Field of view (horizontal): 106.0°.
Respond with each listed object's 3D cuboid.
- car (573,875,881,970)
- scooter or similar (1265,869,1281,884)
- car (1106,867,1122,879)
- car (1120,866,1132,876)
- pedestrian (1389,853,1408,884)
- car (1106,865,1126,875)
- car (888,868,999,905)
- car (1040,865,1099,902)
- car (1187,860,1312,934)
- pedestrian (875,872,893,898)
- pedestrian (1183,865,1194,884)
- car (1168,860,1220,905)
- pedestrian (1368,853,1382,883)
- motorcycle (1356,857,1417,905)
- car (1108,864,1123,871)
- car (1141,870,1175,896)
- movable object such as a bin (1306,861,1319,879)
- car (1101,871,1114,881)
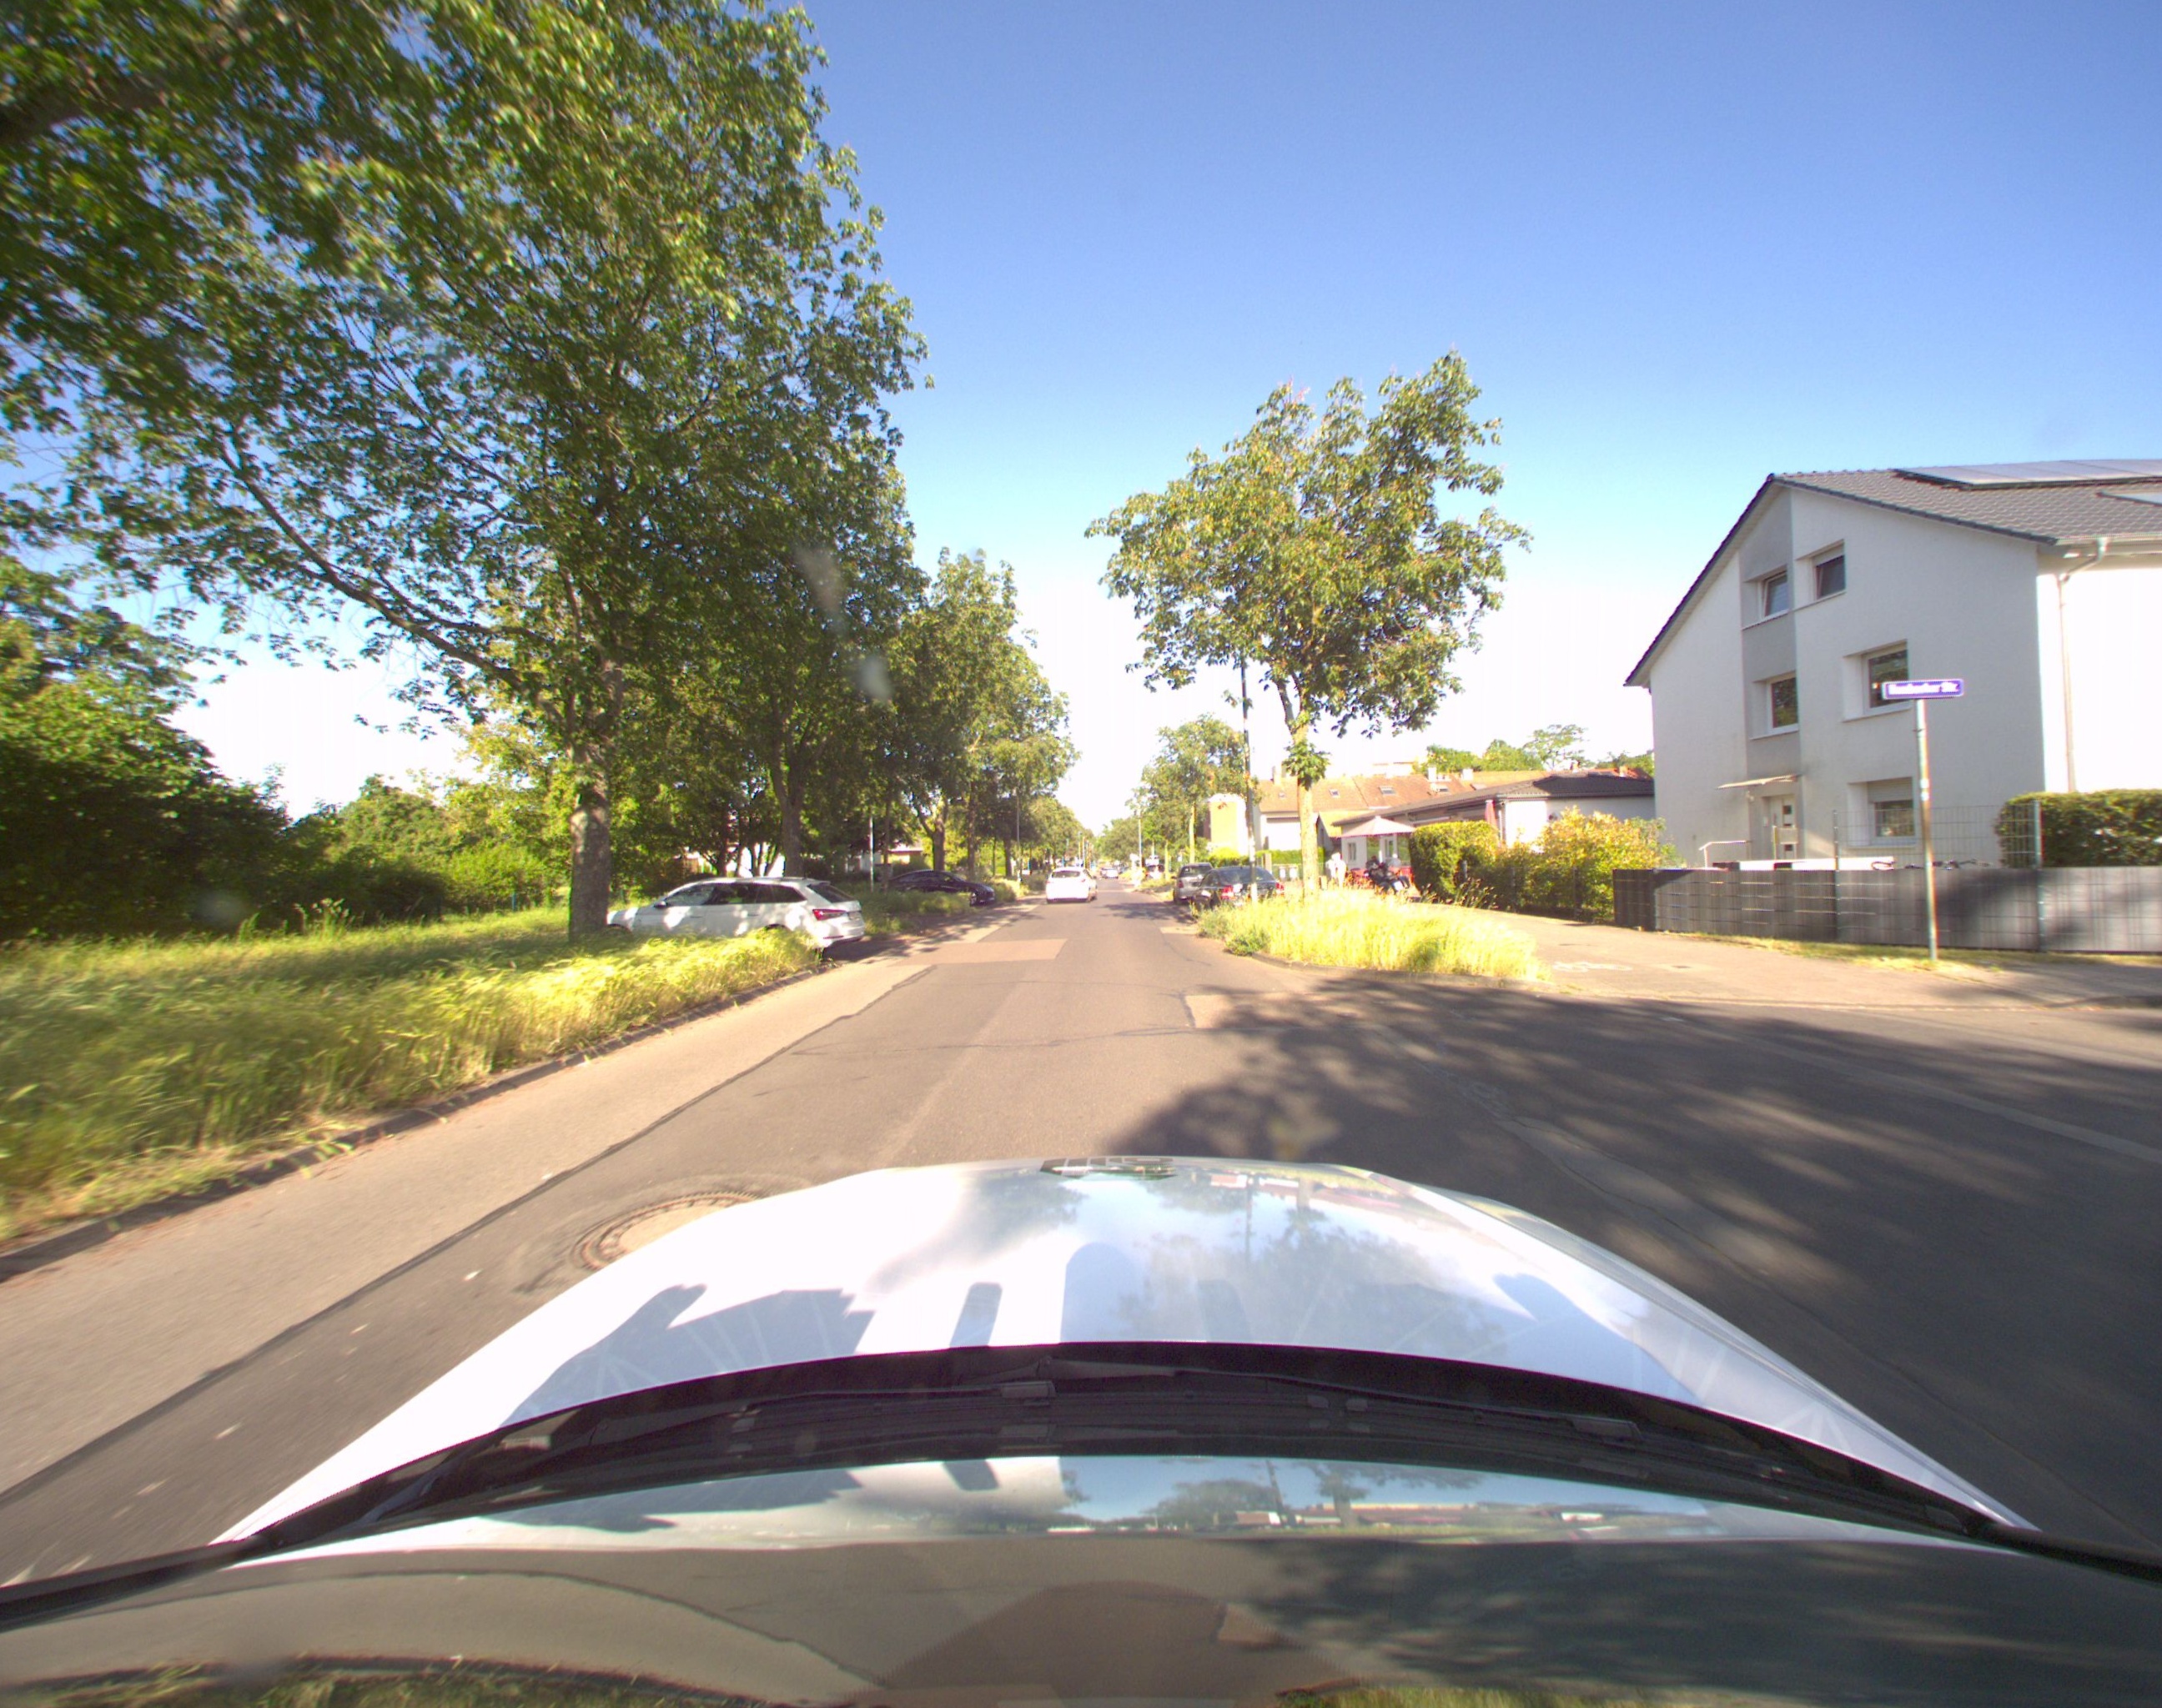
[{"bbox_3d":[-6.231,1.184,14.713,4.652,1.503,2.001,-1,-1,3],"label":"car"},{"bbox_3d":[11.220,1.313,47.577,0.368,0.858,1.406,-1,-1,-11],"label":"scooter or similar"},{"bbox_3d":[4.207,2.452,105.561,1.986,1.508,3.659,2,-1,2],"label":"car"},{"bbox_3d":[7.068,2.716,127.392,1.726,1.508,3.659,2,-1,2],"label":"car"},{"bbox_3d":[14.655,0.657,37.559,0.655,1.409,0.496,-4,-2,30],"label":"pedestrian"},{"bbox_3d":[7.147,3.388,167.786,3.974,2.014,1.999,0,-2,0],"label":"car"},{"bbox_3d":[-5.735,1.360,34.334,4.352,1.531,1.807,0,-1,0],"label":"car"},{"bbox_3d":[-0.435,1.230,34.959,1.983,1.455,4.232,-1,-1,6],"label":"car"},{"bbox_3d":[4.117,1.022,20.691,1.990,1.622,4.374,2,-1,-4],"label":"car"},{"bbox_3d":[-14.203,2.224,58.571,1.227,1.827,1.543,1,-2,-15],"label":"pedestrian"},{"bbox_3d":[11.610,2.163,87.962,1.108,2.014,0.922,-1,-1,1],"label":"pedestrian"},{"bbox_3d":[4.438,1.117,32.436,1.604,1.622,4.383,2,-1,2],"label":"car"},{"bbox_3d":[13.552,0.660,37.551,0.437,1.385,0.640,0,-2,7],"label":"pedestrian"},{"bbox_3d":[8.457,0.736,22.658,0.815,1.227,2.352,-3,-1,1],"label":"motorcycle"},{"bbox_3d":[9.425,3.610,220.047,3.975,1.750,1.999,-1,-1,-1],"label":"car"},{"bbox_3d":[5.559,2.106,59.330,1.987,1.728,3.998,-3,-2,-1],"label":"car"},{"bbox_3d":[13.999,0.989,49.304,0.491,1.032,0.747,-4,-1,1],"label":"movable object such as a bin"},{"bbox_3d":[3.900,3.225,120.096,1.810,1.508,3.659,2,-1,2],"label":"car"}]
